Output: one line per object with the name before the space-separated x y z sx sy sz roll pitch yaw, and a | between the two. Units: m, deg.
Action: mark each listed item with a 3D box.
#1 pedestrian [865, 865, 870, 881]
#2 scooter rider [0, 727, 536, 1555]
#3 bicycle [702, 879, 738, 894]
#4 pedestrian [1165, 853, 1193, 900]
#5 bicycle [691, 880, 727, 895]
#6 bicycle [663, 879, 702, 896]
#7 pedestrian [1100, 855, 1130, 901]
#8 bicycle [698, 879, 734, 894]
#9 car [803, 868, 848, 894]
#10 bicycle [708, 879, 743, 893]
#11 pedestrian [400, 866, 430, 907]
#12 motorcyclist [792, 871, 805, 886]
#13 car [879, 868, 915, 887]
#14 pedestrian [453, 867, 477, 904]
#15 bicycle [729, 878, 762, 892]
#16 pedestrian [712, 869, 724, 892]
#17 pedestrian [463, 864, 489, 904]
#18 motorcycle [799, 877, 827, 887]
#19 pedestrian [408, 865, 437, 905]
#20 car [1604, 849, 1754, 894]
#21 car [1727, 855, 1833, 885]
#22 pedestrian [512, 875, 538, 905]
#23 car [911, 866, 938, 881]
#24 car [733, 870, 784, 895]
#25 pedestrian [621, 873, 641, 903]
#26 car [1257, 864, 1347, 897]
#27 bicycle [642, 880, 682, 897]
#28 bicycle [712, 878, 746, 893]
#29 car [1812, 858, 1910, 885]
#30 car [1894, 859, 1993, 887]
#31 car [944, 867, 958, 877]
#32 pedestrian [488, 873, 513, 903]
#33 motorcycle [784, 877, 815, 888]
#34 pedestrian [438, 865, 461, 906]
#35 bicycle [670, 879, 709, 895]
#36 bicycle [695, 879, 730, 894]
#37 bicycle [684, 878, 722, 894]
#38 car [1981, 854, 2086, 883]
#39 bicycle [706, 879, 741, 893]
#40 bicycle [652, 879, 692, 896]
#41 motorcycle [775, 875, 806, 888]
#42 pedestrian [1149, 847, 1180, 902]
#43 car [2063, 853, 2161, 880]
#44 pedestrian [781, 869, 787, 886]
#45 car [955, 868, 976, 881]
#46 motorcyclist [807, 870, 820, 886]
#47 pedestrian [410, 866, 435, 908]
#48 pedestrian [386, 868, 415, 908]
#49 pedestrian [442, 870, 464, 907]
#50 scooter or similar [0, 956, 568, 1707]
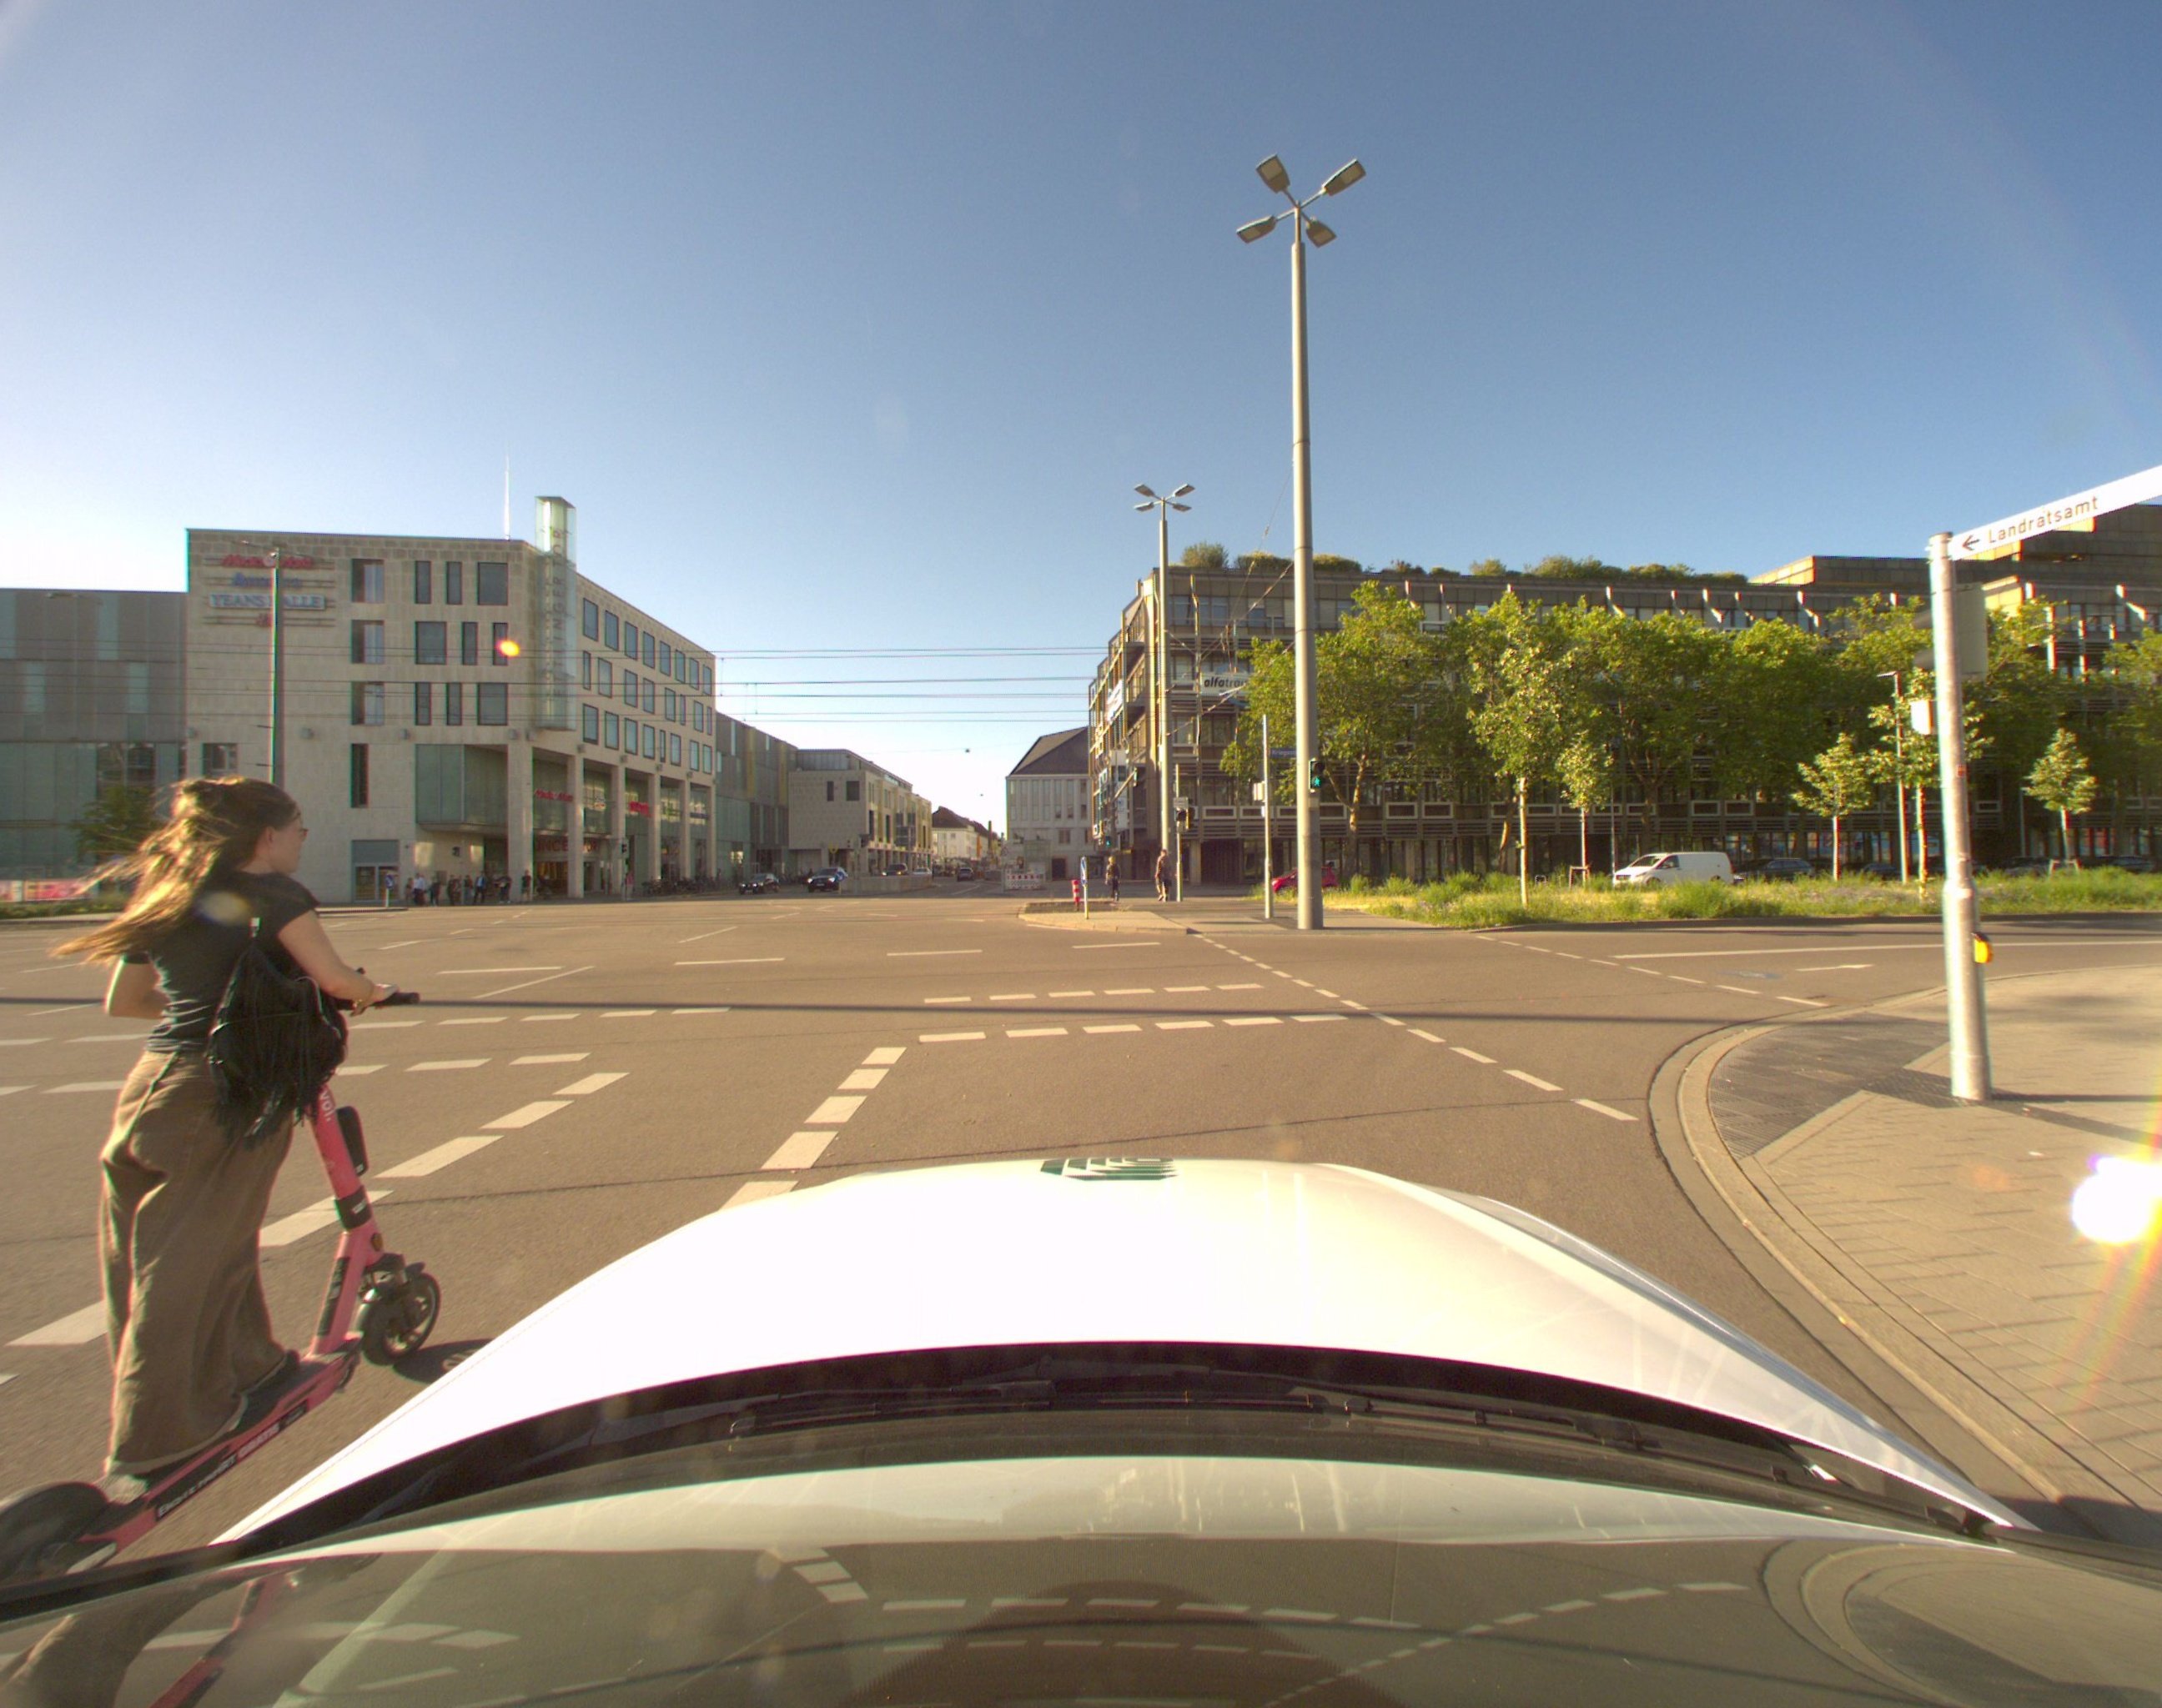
pedestrian | -27.027 2.386 103.108 0.617 2.014 0.476 1 -1 -14
scooter rider | -2.091 0.538 2.082 0.640 1.544 1.116 0 -1 -3
bicycle | -28.305 2.542 63.884 2.459 1.111 0.684 -1 -1 1
pedestrian | 4.092 0.921 33.965 1.004 1.911 1.055 -1 -1 14
bicycle | -28.252 2.516 61.883 2.459 1.111 0.593 -1 -1 1
bicycle | -28.248 2.366 57.726 2.458 1.111 0.684 -1 -1 2
pedestrian | 1.176 0.824 28.163 0.894 1.549 0.922 -1 1 -6
bicycle | -28.249 2.538 63.108 2.459 1.111 0.684 -1 -1 1
car | -17.182 1.785 54.899 1.934 1.677 4.288 -1 -1 -4
bicycle | -28.284 2.556 64.818 2.459 1.111 0.835 -1 -1 1
pedestrian | -35.116 1.710 42.948 0.896 2.124 0.943 0 -1 -13
motorcyclist | -28.003 2.421 80.785 1.035 1.471 0.914 1 -1 -7
car | -17.647 2.227 78.226 2.167 1.692 5.485 0 -1 0
pedestrian | -33.792 1.706 44.694 0.920 2.014 1.014 0 -1 -30
bicycle | -28.914 2.654 70.238 2.459 1.111 0.835 -1 -1 1
pedestrian | -32.011 2.346 71.863 0.950 1.982 1.000 0 -1 -24
pedestrian | -32.511 1.612 43.782 1.068 2.129 1.085 1 -1 -39
motorcycle | -27.709 2.882 84.245 2.665 0.996 0.914 1 -1 -7
pedestrian | -35.554 1.687 43.995 0.897 2.124 0.942 0 -1 -14
car | 28.362 0.843 38.720 5.683 2.014 2.261 -1 -3 -6
car | 40.613 0.918 47.351 4.850 1.680 1.994 0 0 -9
pedestrian | -30.278 1.958 44.349 0.830 1.571 0.952 -1 -1 37
car | -17.567 2.217 91.815 2.168 1.692 5.610 0 -1 -2
car | -22.296 1.963 56.476 1.932 1.581 4.291 -1 -1 -1
pedestrian | -26.750 2.002 48.427 0.749 1.740 0.756 0 -1 -2
car | 10.873 1.337 40.254 3.859 1.486 1.843 -1 -4 -4
bicycle | -28.294 2.339 55.015 2.395 1.113 0.658 -1 -1 0
bicycle | -28.909 2.590 66.914 2.459 1.111 0.835 -1 -1 1
car | 46.086 1.014 48.189 3.977 1.521 1.998 -1 0 -3
car | 51.667 1.137 48.828 4.604 1.557 1.745 0 0 -7
car | -25.212 3.434 158.093 2.169 1.873 5.608 0 -1 -3
pedestrian | -32.133 1.861 45.070 1.013 1.651 0.937 1 -1 -41
motorcycle | -27.928 2.821 80.797 2.665 0.996 0.914 1 -1 -7
pedestrian | -33.231 1.660 42.867 0.903 2.124 0.936 1 -2 -41
bicycle | -28.146 2.358 58.535 2.459 1.111 0.684 -1 -1 1
bicycle | -28.242 2.525 62.475 2.459 1.111 0.537 -1 -1 1
bicycle | -27.977 2.379 60.325 2.459 1.111 0.684 -1 -1 1
car | 58.192 0.895 49.805 4.339 1.633 1.914 -1 -3 -4
bicycle | -28.827 2.570 65.663 2.459 1.111 0.684 -1 -1 1
bicycle | -28.305 2.343 56.361 2.459 1.111 0.684 -1 -1 0
motorcycle | -27.997 2.670 78.435 2.665 1.217 0.914 1 -1 -7
pedestrian | 2.714 0.644 26.490 0.855 1.744 0.737 -1 0 -8
car | 63.569 0.763 50.156 4.256 1.596 1.863 0 -2 -5
pedestrian | -36.361 2.861 99.577 0.617 2.014 0.476 1 -1 -14
car | -13.405 2.372 94.692 1.932 1.450 4.257 0 -1 -3
motorcyclist | -27.679 2.457 84.269 1.135 1.575 0.914 1 -1 -7
pedestrian | -34.110 1.710 42.184 0.902 2.124 0.937 0 -1 -34
pedestrian | -36.546 1.822 43.756 0.898 2.124 0.940 0 -1 -21
pedestrian | -35.172 1.906 45.602 0.922 2.014 1.012 0 -2 -40
scooter or similar | -2.088 0.935 2.078 0.640 1.175 1.482 0 -1 -2
